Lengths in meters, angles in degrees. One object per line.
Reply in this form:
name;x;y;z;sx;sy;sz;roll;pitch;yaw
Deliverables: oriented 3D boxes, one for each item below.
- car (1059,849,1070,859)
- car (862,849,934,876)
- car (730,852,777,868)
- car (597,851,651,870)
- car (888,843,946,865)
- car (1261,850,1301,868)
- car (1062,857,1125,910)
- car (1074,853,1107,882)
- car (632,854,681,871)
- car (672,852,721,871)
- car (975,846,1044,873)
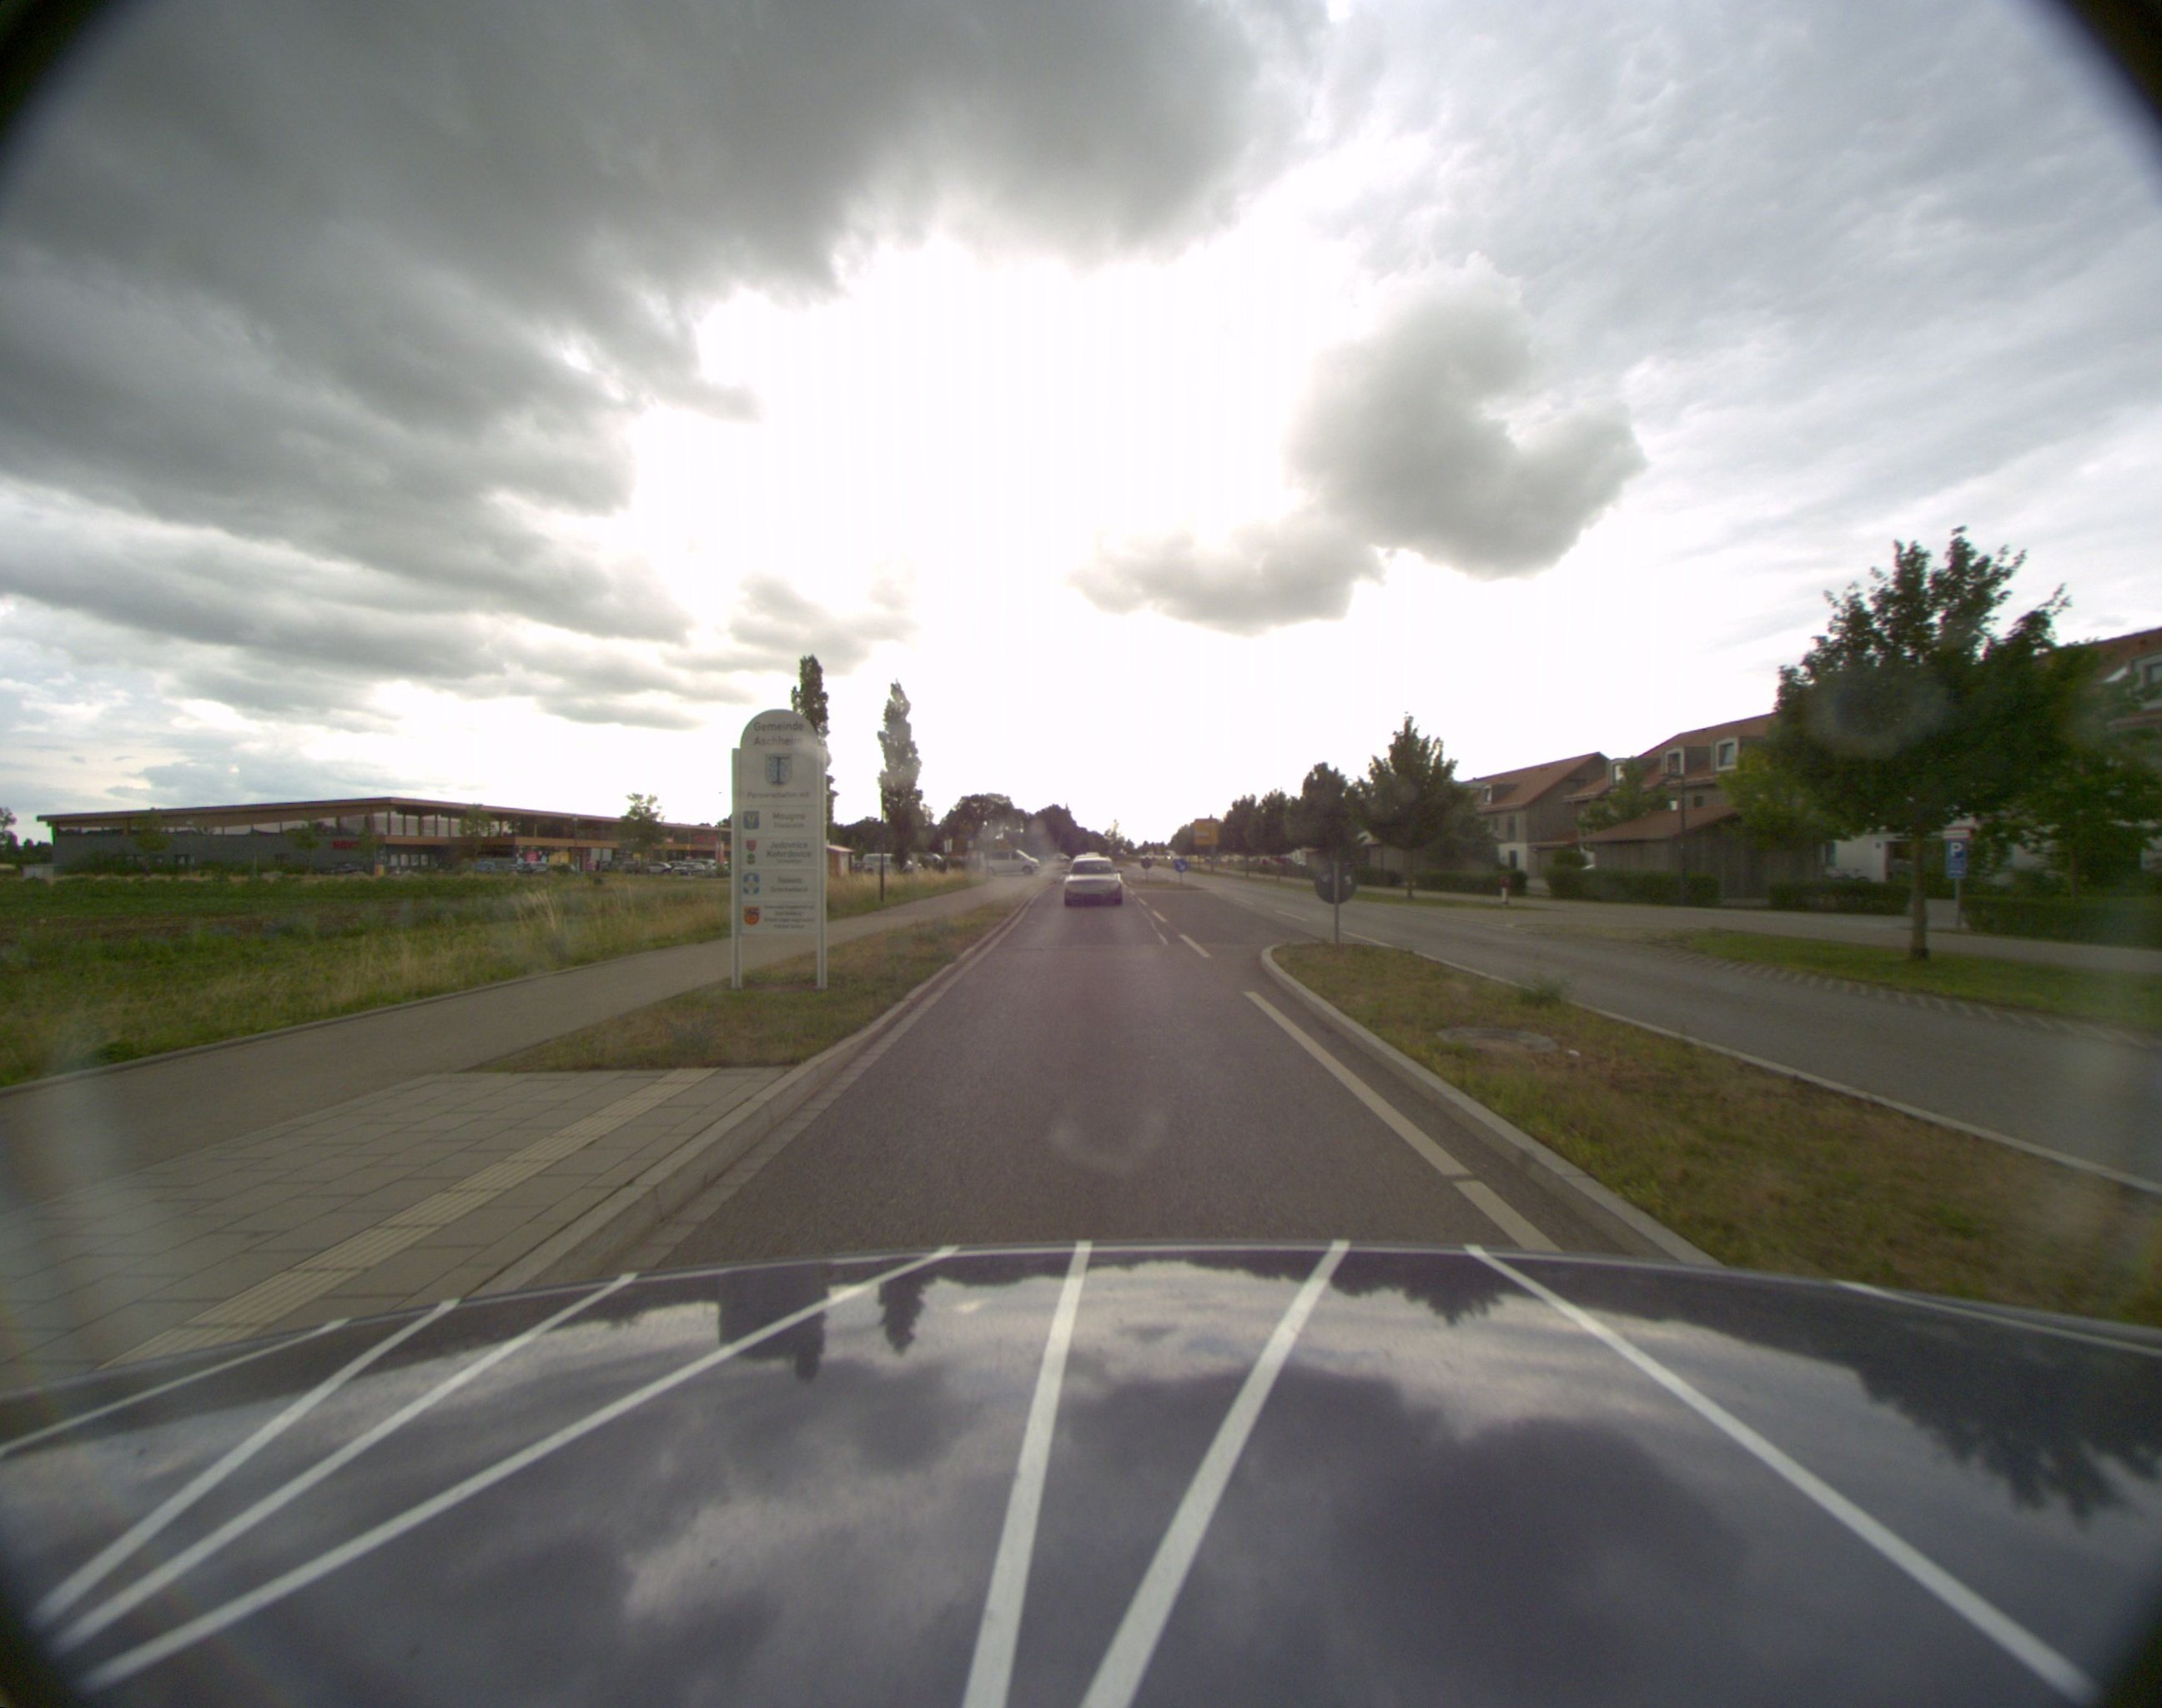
car;-3.220;-0.049;150.751;1.998;2.002;4.000;-1;0;1
car;-15.105;0.714;62.866;5.313;2.002;2.000;-2;1;2
car;-46.115;0.880;107.083;5.527;2.002;1.999;-2;1;-5
car;-53.158;0.787;88.488;4.858;2.002;1.998;-2;1;-7
car;-16.781;0.001;78.077;5.527;2.002;1.999;-2;1;-5
car;25.540;0.635;97.226;4.568;2.002;2.000;-2;1;5
car;0.468;0.866;24.242;1.763;1.410;4.520;-2;1;3
car;0.578;0.723;44.329;1.763;1.495;4.690;-2;1;1
car;-53.271;1.067;95.403;4.858;2.002;1.998;-2;1;-7
car;-46.543;0.873;92.028;4.858;2.002;1.998;-2;1;-7
car;-5.783;0.426;62.115;5.313;2.002;2.562;-2;1;2
